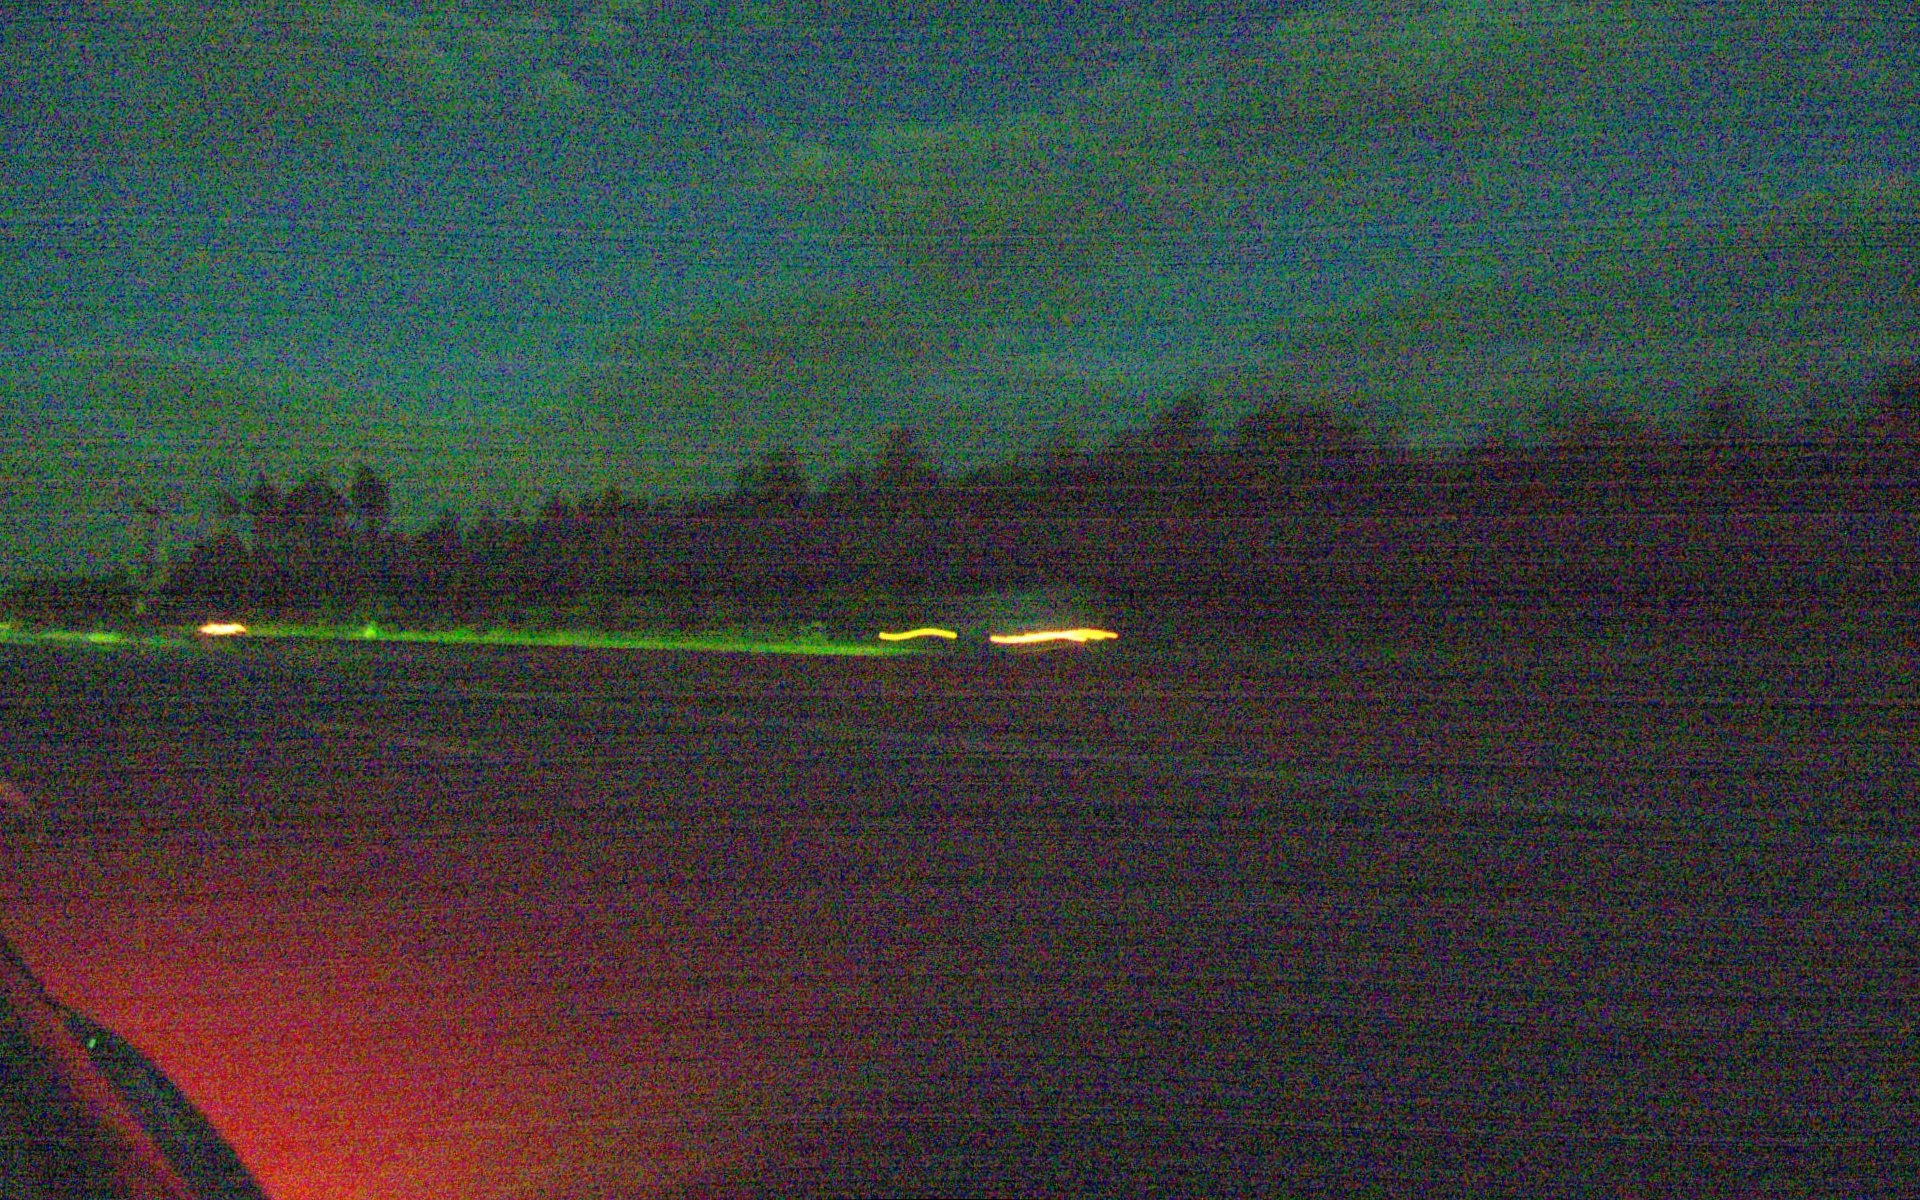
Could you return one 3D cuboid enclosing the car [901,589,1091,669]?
[{"bbox_3d":[0.903,0.757,28.129,5.184,2.029,2.005,-1,-1,41],"label":"car"}]

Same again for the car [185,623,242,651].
[{"bbox_3d":[-46.132,2.237,62.517,4.210,1.614,1.973,-1,-1,41],"label":"car"}]
